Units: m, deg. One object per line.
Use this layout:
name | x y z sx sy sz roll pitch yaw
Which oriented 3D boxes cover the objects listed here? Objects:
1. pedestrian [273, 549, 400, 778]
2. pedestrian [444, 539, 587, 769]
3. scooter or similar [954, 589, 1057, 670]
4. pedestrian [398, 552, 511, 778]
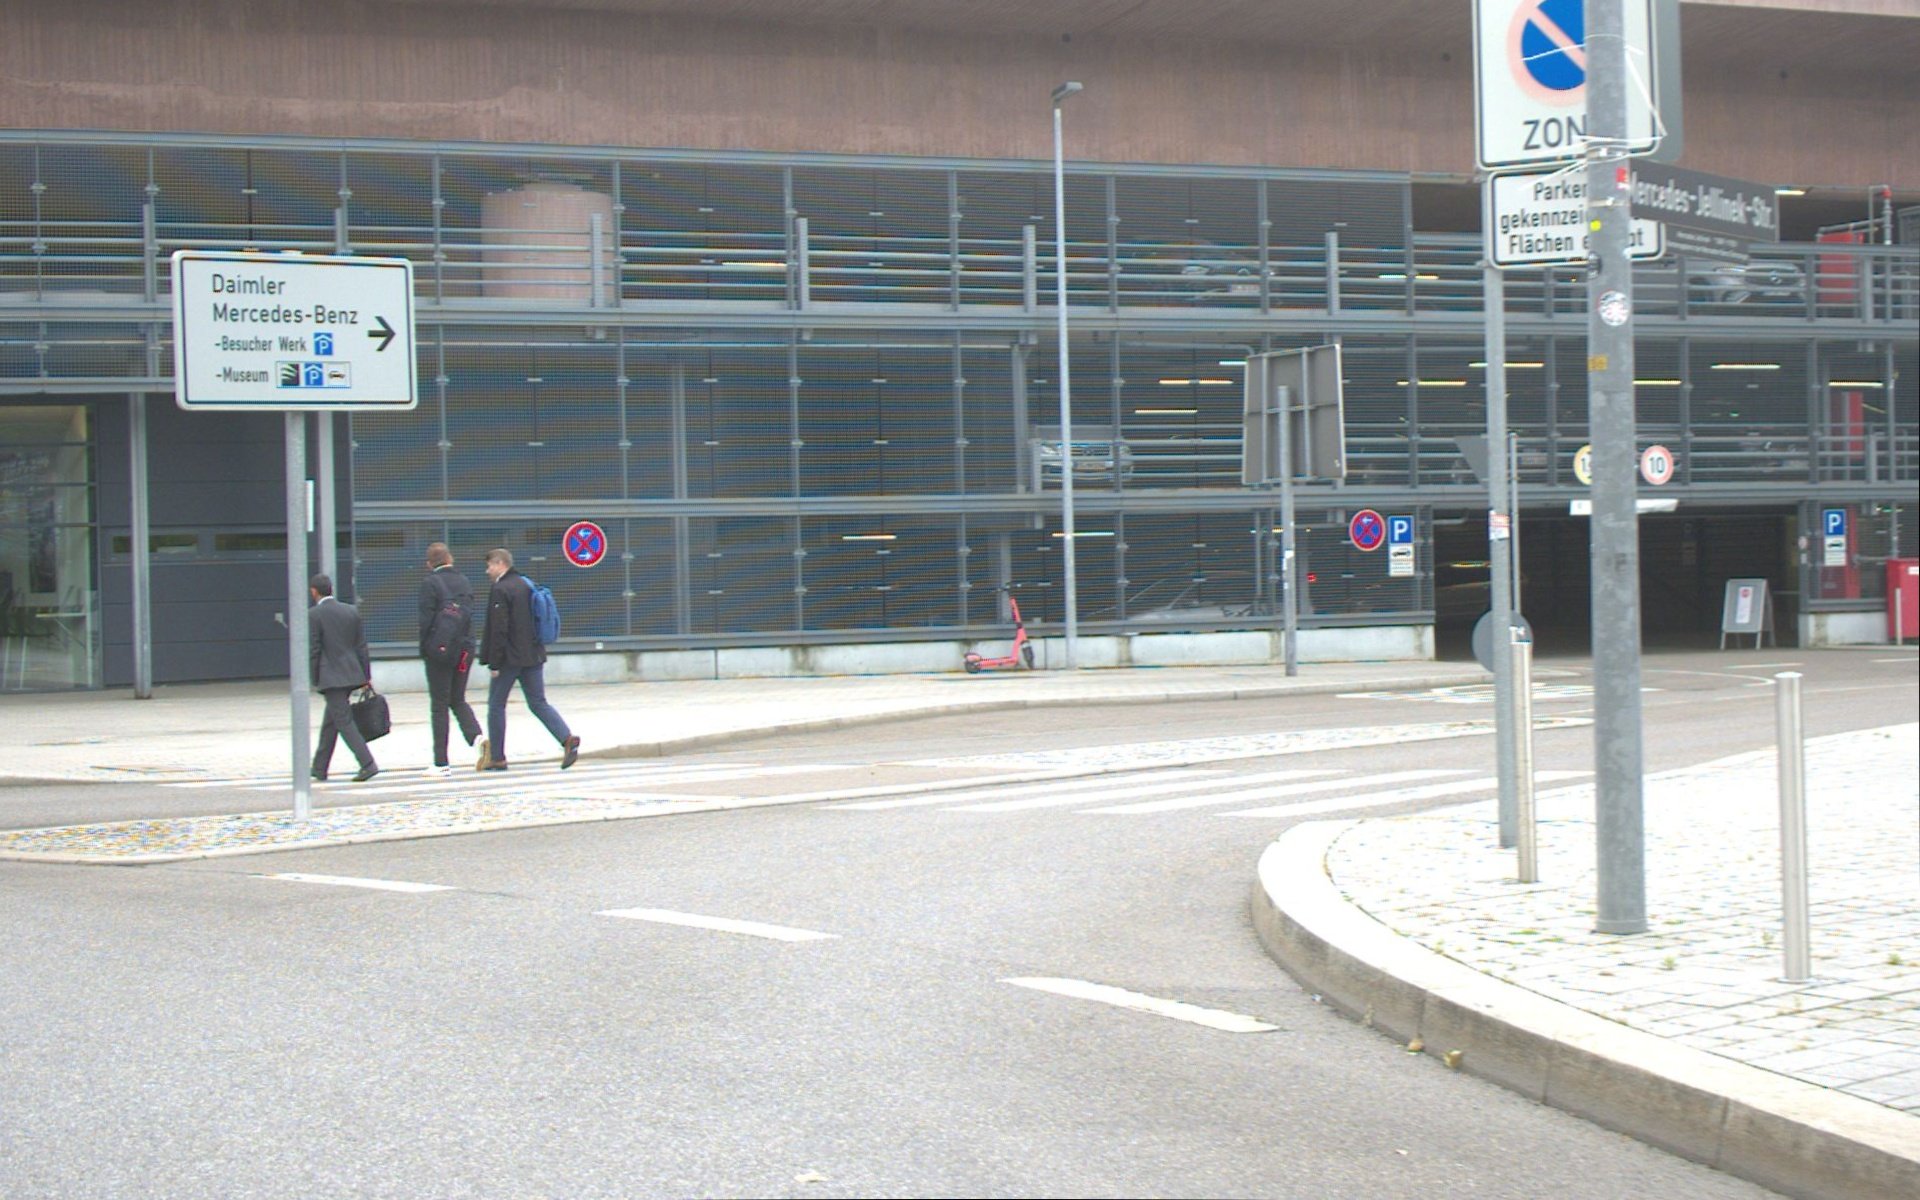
pedestrian | -4.706 0.466 25.999 0.862 1.699 0.773 0 1 -4
pedestrian | -3.539 0.416 27.357 0.863 1.792 0.783 -1 1 -35
scooter or similar | 0.639 0.407 48.256 1.423 1.119 0.381 0 1 -24
pedestrian | -3.867 0.486 26.353 0.784 1.699 0.773 0 1 -3
